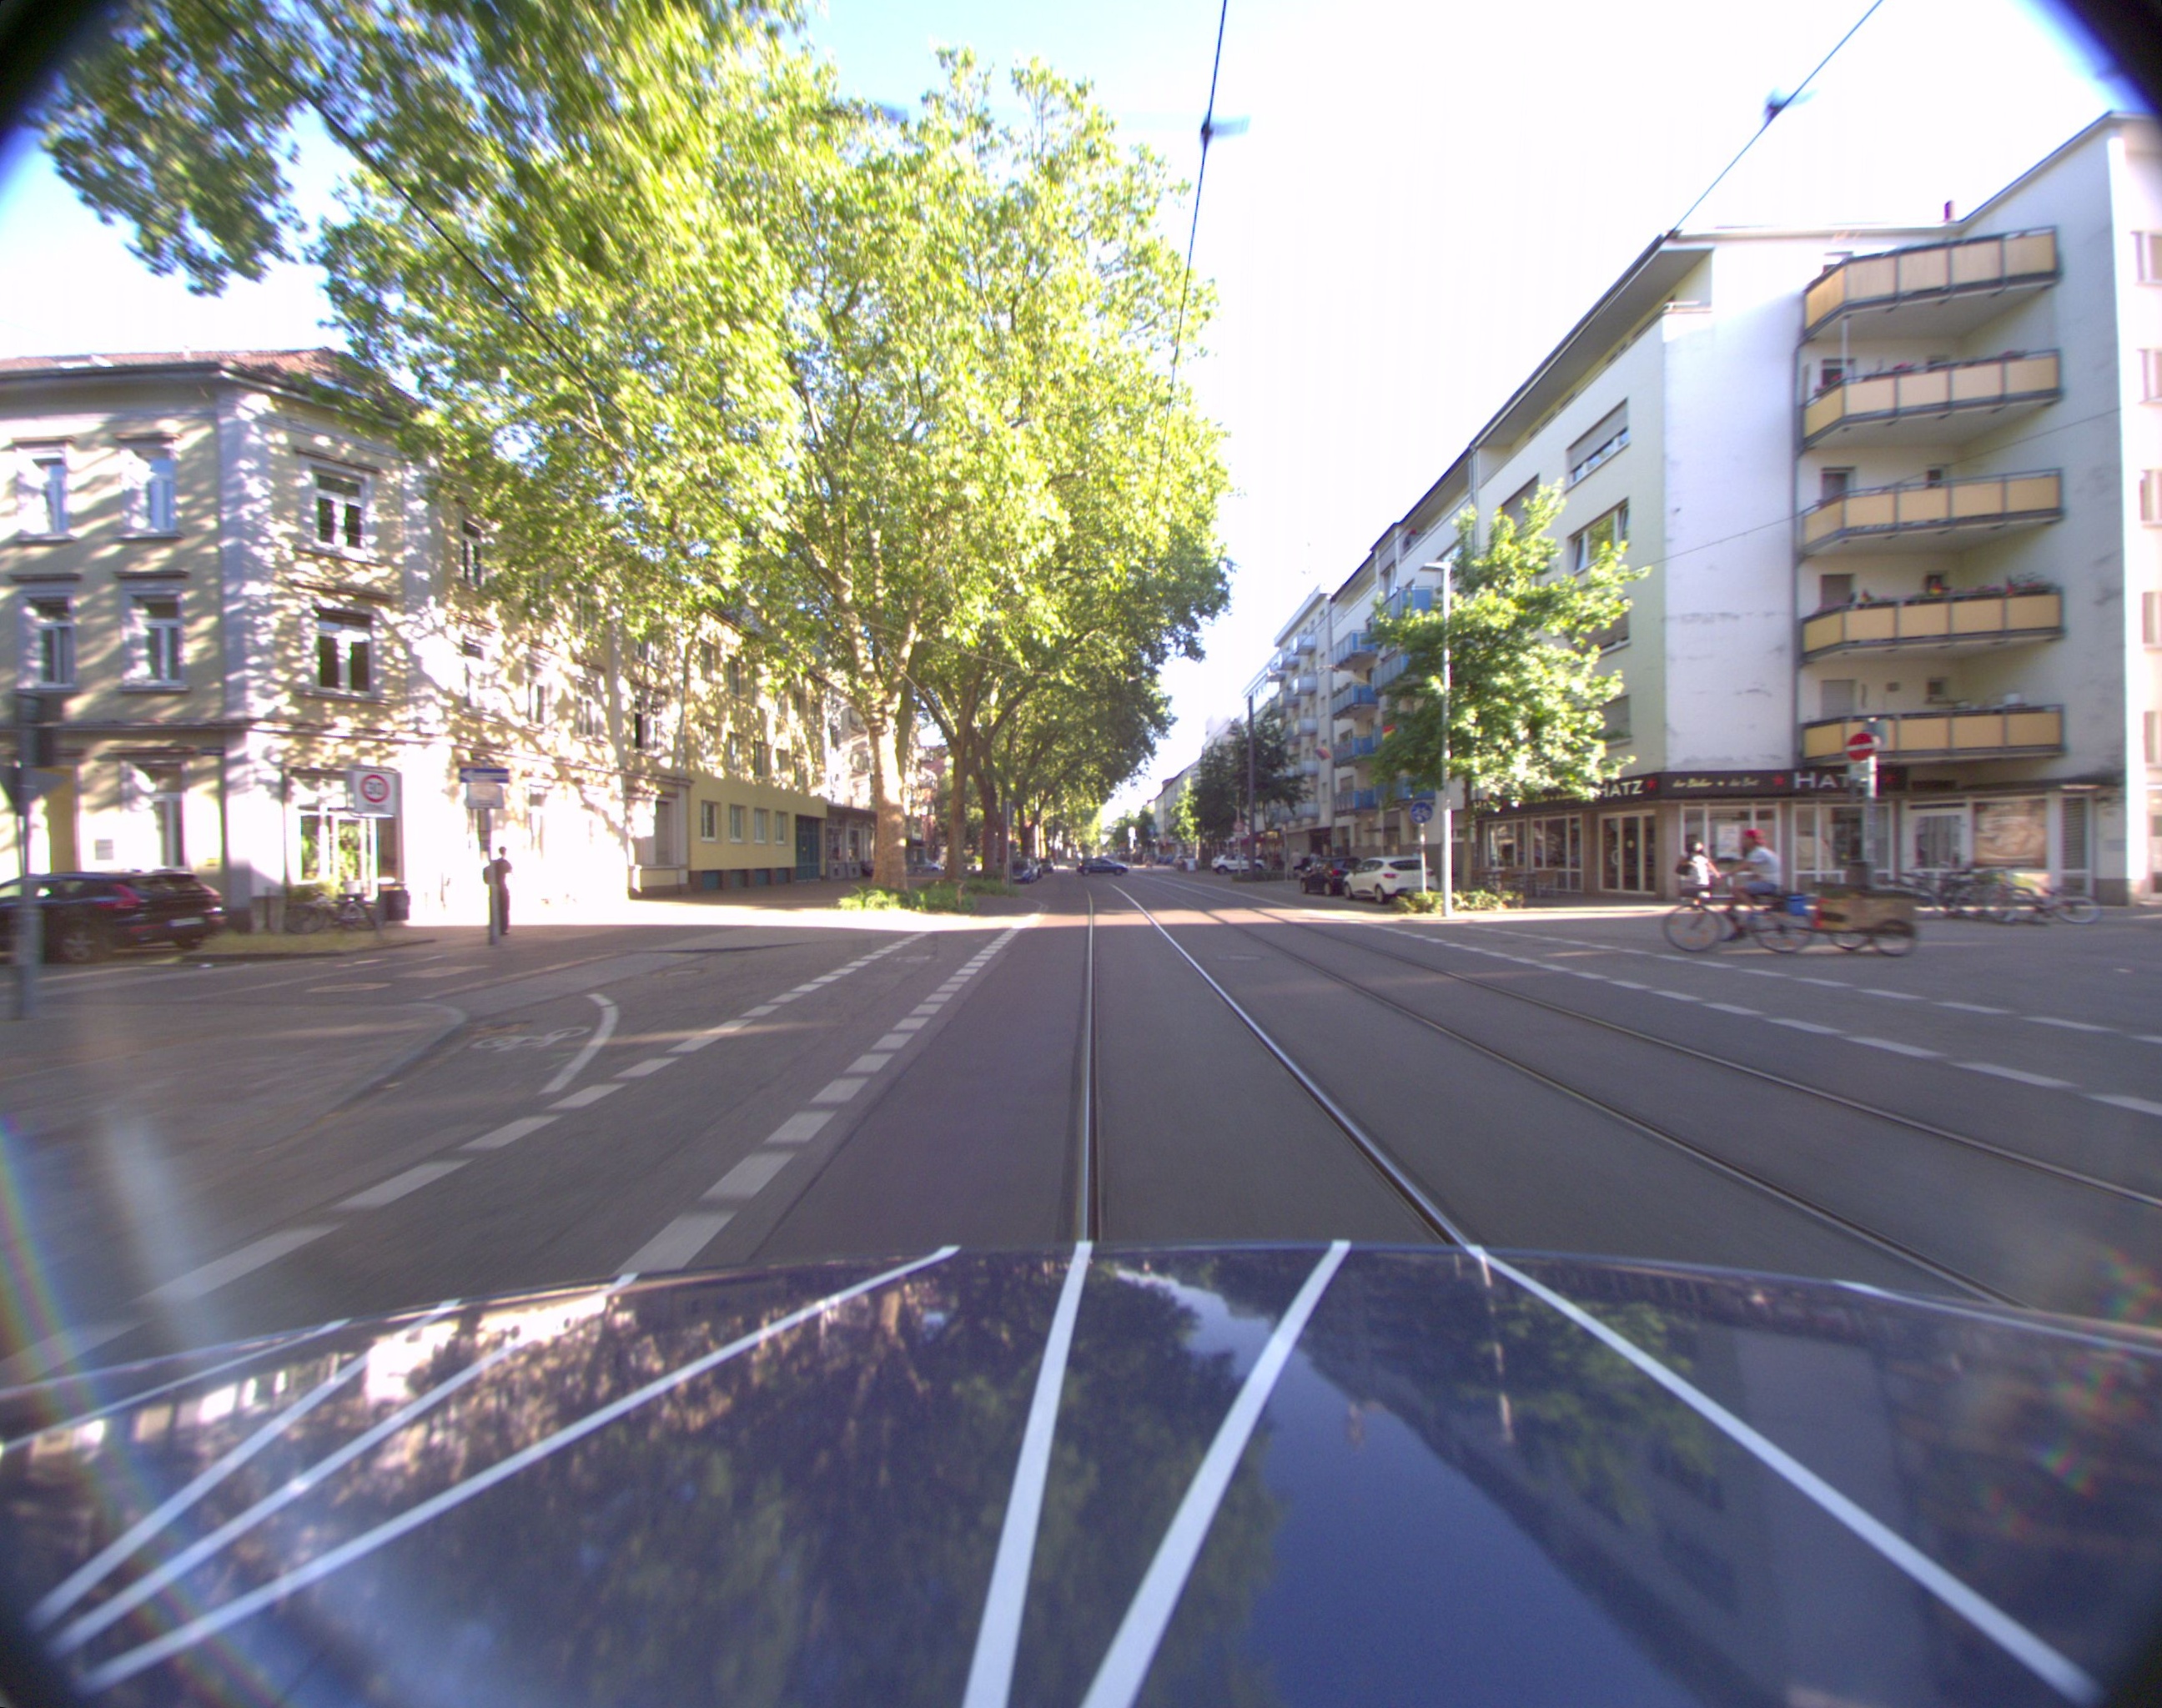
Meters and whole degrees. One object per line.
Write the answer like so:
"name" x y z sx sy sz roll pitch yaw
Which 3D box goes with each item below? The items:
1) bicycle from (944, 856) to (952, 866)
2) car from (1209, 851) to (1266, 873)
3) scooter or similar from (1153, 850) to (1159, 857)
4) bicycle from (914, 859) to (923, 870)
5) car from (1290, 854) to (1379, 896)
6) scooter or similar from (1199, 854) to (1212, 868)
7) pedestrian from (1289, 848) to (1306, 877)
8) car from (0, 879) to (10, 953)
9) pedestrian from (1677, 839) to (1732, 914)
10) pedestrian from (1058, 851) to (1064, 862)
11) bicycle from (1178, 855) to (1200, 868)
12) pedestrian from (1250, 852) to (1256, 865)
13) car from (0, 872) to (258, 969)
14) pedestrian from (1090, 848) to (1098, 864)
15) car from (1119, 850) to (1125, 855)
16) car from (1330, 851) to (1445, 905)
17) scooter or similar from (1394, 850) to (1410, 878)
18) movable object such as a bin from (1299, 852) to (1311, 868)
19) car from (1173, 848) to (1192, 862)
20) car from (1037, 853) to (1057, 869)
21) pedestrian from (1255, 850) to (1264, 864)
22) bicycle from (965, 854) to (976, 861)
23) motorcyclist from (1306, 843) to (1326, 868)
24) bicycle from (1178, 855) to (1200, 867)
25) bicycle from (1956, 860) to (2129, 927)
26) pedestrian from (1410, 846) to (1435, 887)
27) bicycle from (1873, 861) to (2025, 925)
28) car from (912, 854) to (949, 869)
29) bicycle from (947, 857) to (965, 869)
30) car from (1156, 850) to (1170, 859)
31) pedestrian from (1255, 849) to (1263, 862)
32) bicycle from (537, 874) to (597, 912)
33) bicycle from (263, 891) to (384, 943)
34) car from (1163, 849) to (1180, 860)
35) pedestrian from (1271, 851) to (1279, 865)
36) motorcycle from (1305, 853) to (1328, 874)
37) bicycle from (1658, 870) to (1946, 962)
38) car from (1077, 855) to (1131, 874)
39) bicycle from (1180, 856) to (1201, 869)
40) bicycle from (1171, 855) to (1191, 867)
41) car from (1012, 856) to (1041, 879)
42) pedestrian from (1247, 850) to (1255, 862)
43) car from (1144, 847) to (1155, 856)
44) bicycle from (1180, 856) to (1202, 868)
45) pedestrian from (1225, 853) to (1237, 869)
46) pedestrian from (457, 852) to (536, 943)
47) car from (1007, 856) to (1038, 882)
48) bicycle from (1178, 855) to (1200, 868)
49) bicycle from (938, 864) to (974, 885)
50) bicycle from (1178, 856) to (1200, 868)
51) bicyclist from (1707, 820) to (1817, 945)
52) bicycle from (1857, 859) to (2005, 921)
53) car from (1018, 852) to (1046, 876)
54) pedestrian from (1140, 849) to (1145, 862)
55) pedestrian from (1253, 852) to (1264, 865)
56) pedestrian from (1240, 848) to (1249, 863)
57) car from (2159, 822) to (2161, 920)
"bicycle" -16.303 0.839 93.391 0.601 1.150 1.698 1 1 4
"car" 11.812 0.568 57.539 4.022 1.467 1.852 -2 1 3
"scooter or similar" 14.428 -0.088 146.810 0.447 1.167 1.272 -1 1 -36
"bicycle" -14.589 0.939 68.161 0.572 0.991 1.779 1 1 -4
"car" 9.716 0.751 29.440 1.718 1.455 3.997 -2 1 -6
"scooter or similar" 11.163 0.618 68.138 1.082 1.169 0.498 -2 1 0
"pedestrian" 12.513 0.475 43.902 0.765 1.681 0.794 -1 1 -1
"car" -24.144 1.340 14.570 4.142 1.496 1.999 -1 2 -2
"pedestrian" 14.445 0.505 17.618 0.665 1.681 0.748 -1 1 -1
"pedestrian" -2.985 0.394 112.375 0.768 1.650 0.917 -1 1 -3
"bicycle" 9.554 0.685 67.185 1.834 1.058 0.657 -2 1 -4
"pedestrian" 15.951 0.376 70.444 0.513 1.191 0.564 -1 1 3
"car" -18.674 1.205 14.223 4.143 1.584 1.999 -1 1 -4
"pedestrian" 1.333 0.217 79.910 0.759 1.661 0.768 -1 1 -5
"car" 13.770 -0.543 254.688 1.998 1.521 3.678 -1 0 4
"car" 9.836 0.715 24.778 1.718 1.455 4.375 -4 1 -3
"scooter or similar" 15.346 0.467 36.363 0.376 1.282 1.237 1 1 8
"movable object such as a bin" 15.448 0.426 52.483 0.674 1.049 0.574 -1 1 3
"car" 13.100 0.087 98.147 1.882 1.641 4.357 -3 0 0
"car" -3.279 0.663 73.740 1.769 1.454 5.011 -1 0 -1
"pedestrian" 16.029 0.278 68.193 0.514 1.191 0.562 -1 1 -28
"bicycle" -17.124 0.549 117.949 1.681 1.150 0.572 1 1 6
"motorcyclist" 13.913 0.091 45.019 0.875 1.432 1.016 -1 1 2
"bicycle" 9.762 0.659 68.588 1.834 1.001 0.657 -2 1 -4
"bicycle" 17.694 0.705 14.041 1.946 1.150 0.573 1 1 21
"pedestrian" 14.175 0.512 31.550 0.665 1.681 0.748 -1 1 -1
"bicycle" 16.812 0.736 14.762 1.947 1.150 0.573 1 1 15
"car" -17.496 0.854 88.555 3.871 1.683 1.866 -1 1 1
"bicycle" -13.268 0.956 80.725 1.799 1.150 0.744 0 1 -21
"car" 13.113 0.015 121.483 1.799 1.455 4.282 0 0 1
"pedestrian" 16.810 0.167 71.765 0.565 1.191 0.512 -1 1 -34
"bicycle" -16.213 1.202 24.041 0.584 1.097 1.922 1 1 0
"bicycle" -17.152 1.401 17.269 1.838 1.001 0.568 -3 1 -34
"car" 13.124 0.041 110.253 1.961 1.535 4.389 0 0 1
"pedestrian" 17.031 0.344 66.818 0.563 1.191 0.624 -1 1 0
"motorcycle" 13.932 0.553 44.973 0.851 1.157 1.915 -1 0 2
"bicycle" 9.977 0.843 10.698 2.798 1.150 0.922 -1 1 20
"car" 1.842 0.833 61.938 4.225 1.429 1.869 -2 1 -5
"bicycle" 9.366 0.720 65.022 1.696 1.001 0.657 -2 1 -4
"bicycle" 9.234 0.659 70.081 1.696 1.001 0.657 -2 1 -4
"car" -3.663 0.872 51.653 1.822 1.427 4.601 0 1 -3
"pedestrian" 16.108 0.178 72.127 0.513 1.191 0.563 -1 1 -15
"car" 13.890 -0.495 155.120 1.808 1.923 4.049 -1 0 0
"bicycle" 9.608 0.693 66.371 1.834 1.001 0.657 -2 1 -4
"pedestrian" 12.051 0.550 60.953 0.714 1.290 0.747 -1 1 -13
"pedestrian" -12.483 0.899 16.279 0.768 1.856 1.188 -1 1 -3
"car" -3.601 0.913 47.114 1.567 1.510 2.910 0 1 3
"bicycle" 9.664 0.668 68.149 1.834 1.001 0.657 -2 1 -4
"bicycle" -6.681 1.078 40.708 1.964 1.000 0.512 2 1 27
"bicycle" 9.621 0.678 67.503 1.834 1.001 0.657 -2 1 -4
"bicyclist" 9.656 0.390 10.818 0.872 1.694 0.909 -1 1 20
"bicycle" 16.913 0.696 15.164 1.947 1.150 0.573 1 1 15
"car" -3.635 0.720 57.105 1.862 1.594 4.781 0 1 -1
"pedestrian" 7.801 0.213 96.624 0.655 1.576 0.772 -1 1 1
"pedestrian" 16.130 0.381 69.060 0.603 1.191 0.690 -1 1 -34
"pedestrian" 16.990 0.138 79.004 0.727 1.547 0.768 -1 1 -5
"car" 22.447 0.264 13.191 4.888 1.812 2.038 -1 1 -3
